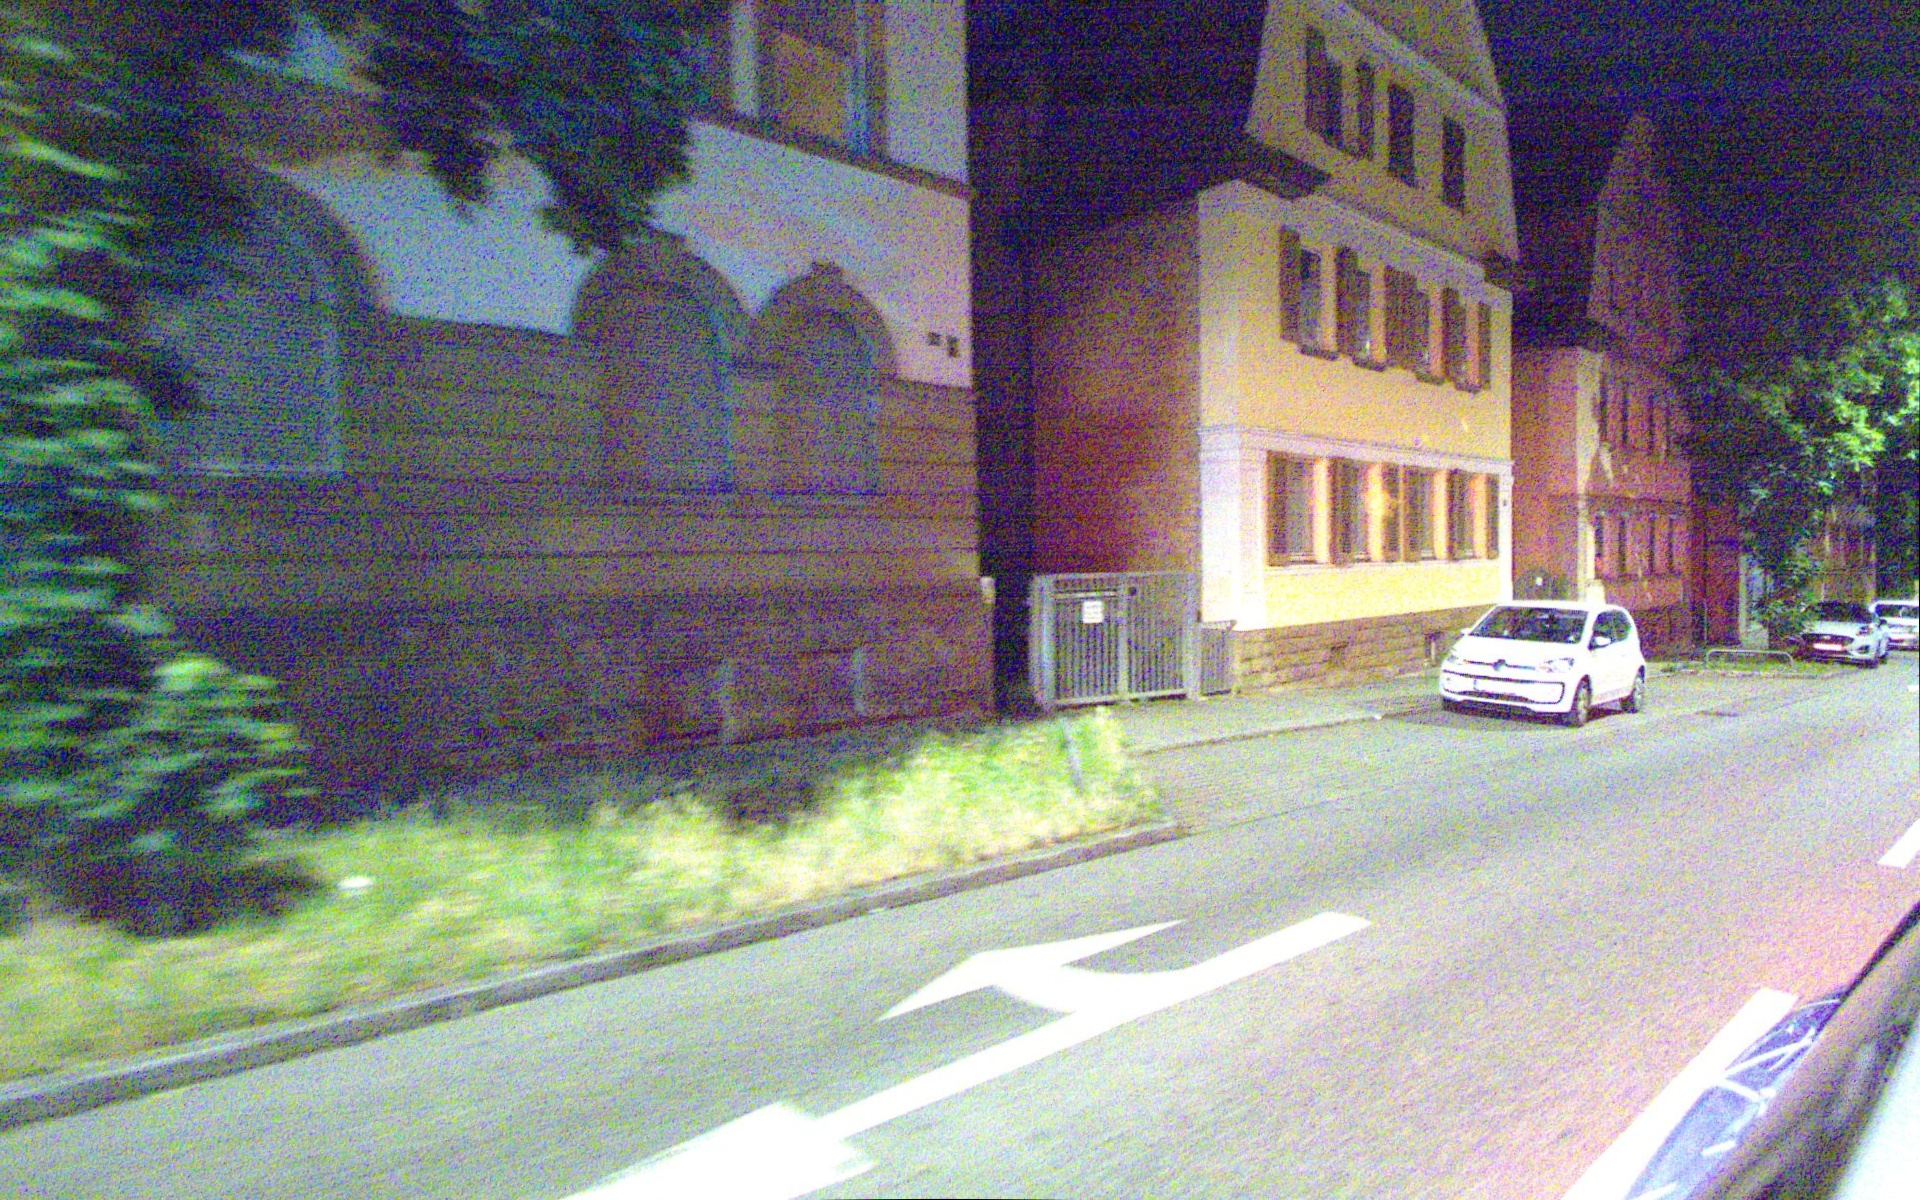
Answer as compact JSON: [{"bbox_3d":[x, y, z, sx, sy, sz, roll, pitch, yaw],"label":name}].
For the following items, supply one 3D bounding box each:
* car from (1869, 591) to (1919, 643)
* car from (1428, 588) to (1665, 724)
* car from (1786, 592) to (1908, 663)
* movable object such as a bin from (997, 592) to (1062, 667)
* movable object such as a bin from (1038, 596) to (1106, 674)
[{"bbox_3d":[32.151,0.548,34.057,4.281,1.617,1.742,0,2,-40],"label":"car"},{"bbox_3d":[7.842,0.637,13.412,3.541,1.503,1.671,0,2,-42],"label":"car"},{"bbox_3d":[22.236,0.631,25.329,3.977,1.572,1.862,0,2,-43],"label":"car"},{"bbox_3d":[1.025,0.418,14.828,0.742,1.062,0.608,0,0,-41],"label":"movable object such as a bin"},{"bbox_3d":[1.561,0.472,14.137,0.742,1.062,0.608,0,0,-41],"label":"movable object such as a bin"}]
